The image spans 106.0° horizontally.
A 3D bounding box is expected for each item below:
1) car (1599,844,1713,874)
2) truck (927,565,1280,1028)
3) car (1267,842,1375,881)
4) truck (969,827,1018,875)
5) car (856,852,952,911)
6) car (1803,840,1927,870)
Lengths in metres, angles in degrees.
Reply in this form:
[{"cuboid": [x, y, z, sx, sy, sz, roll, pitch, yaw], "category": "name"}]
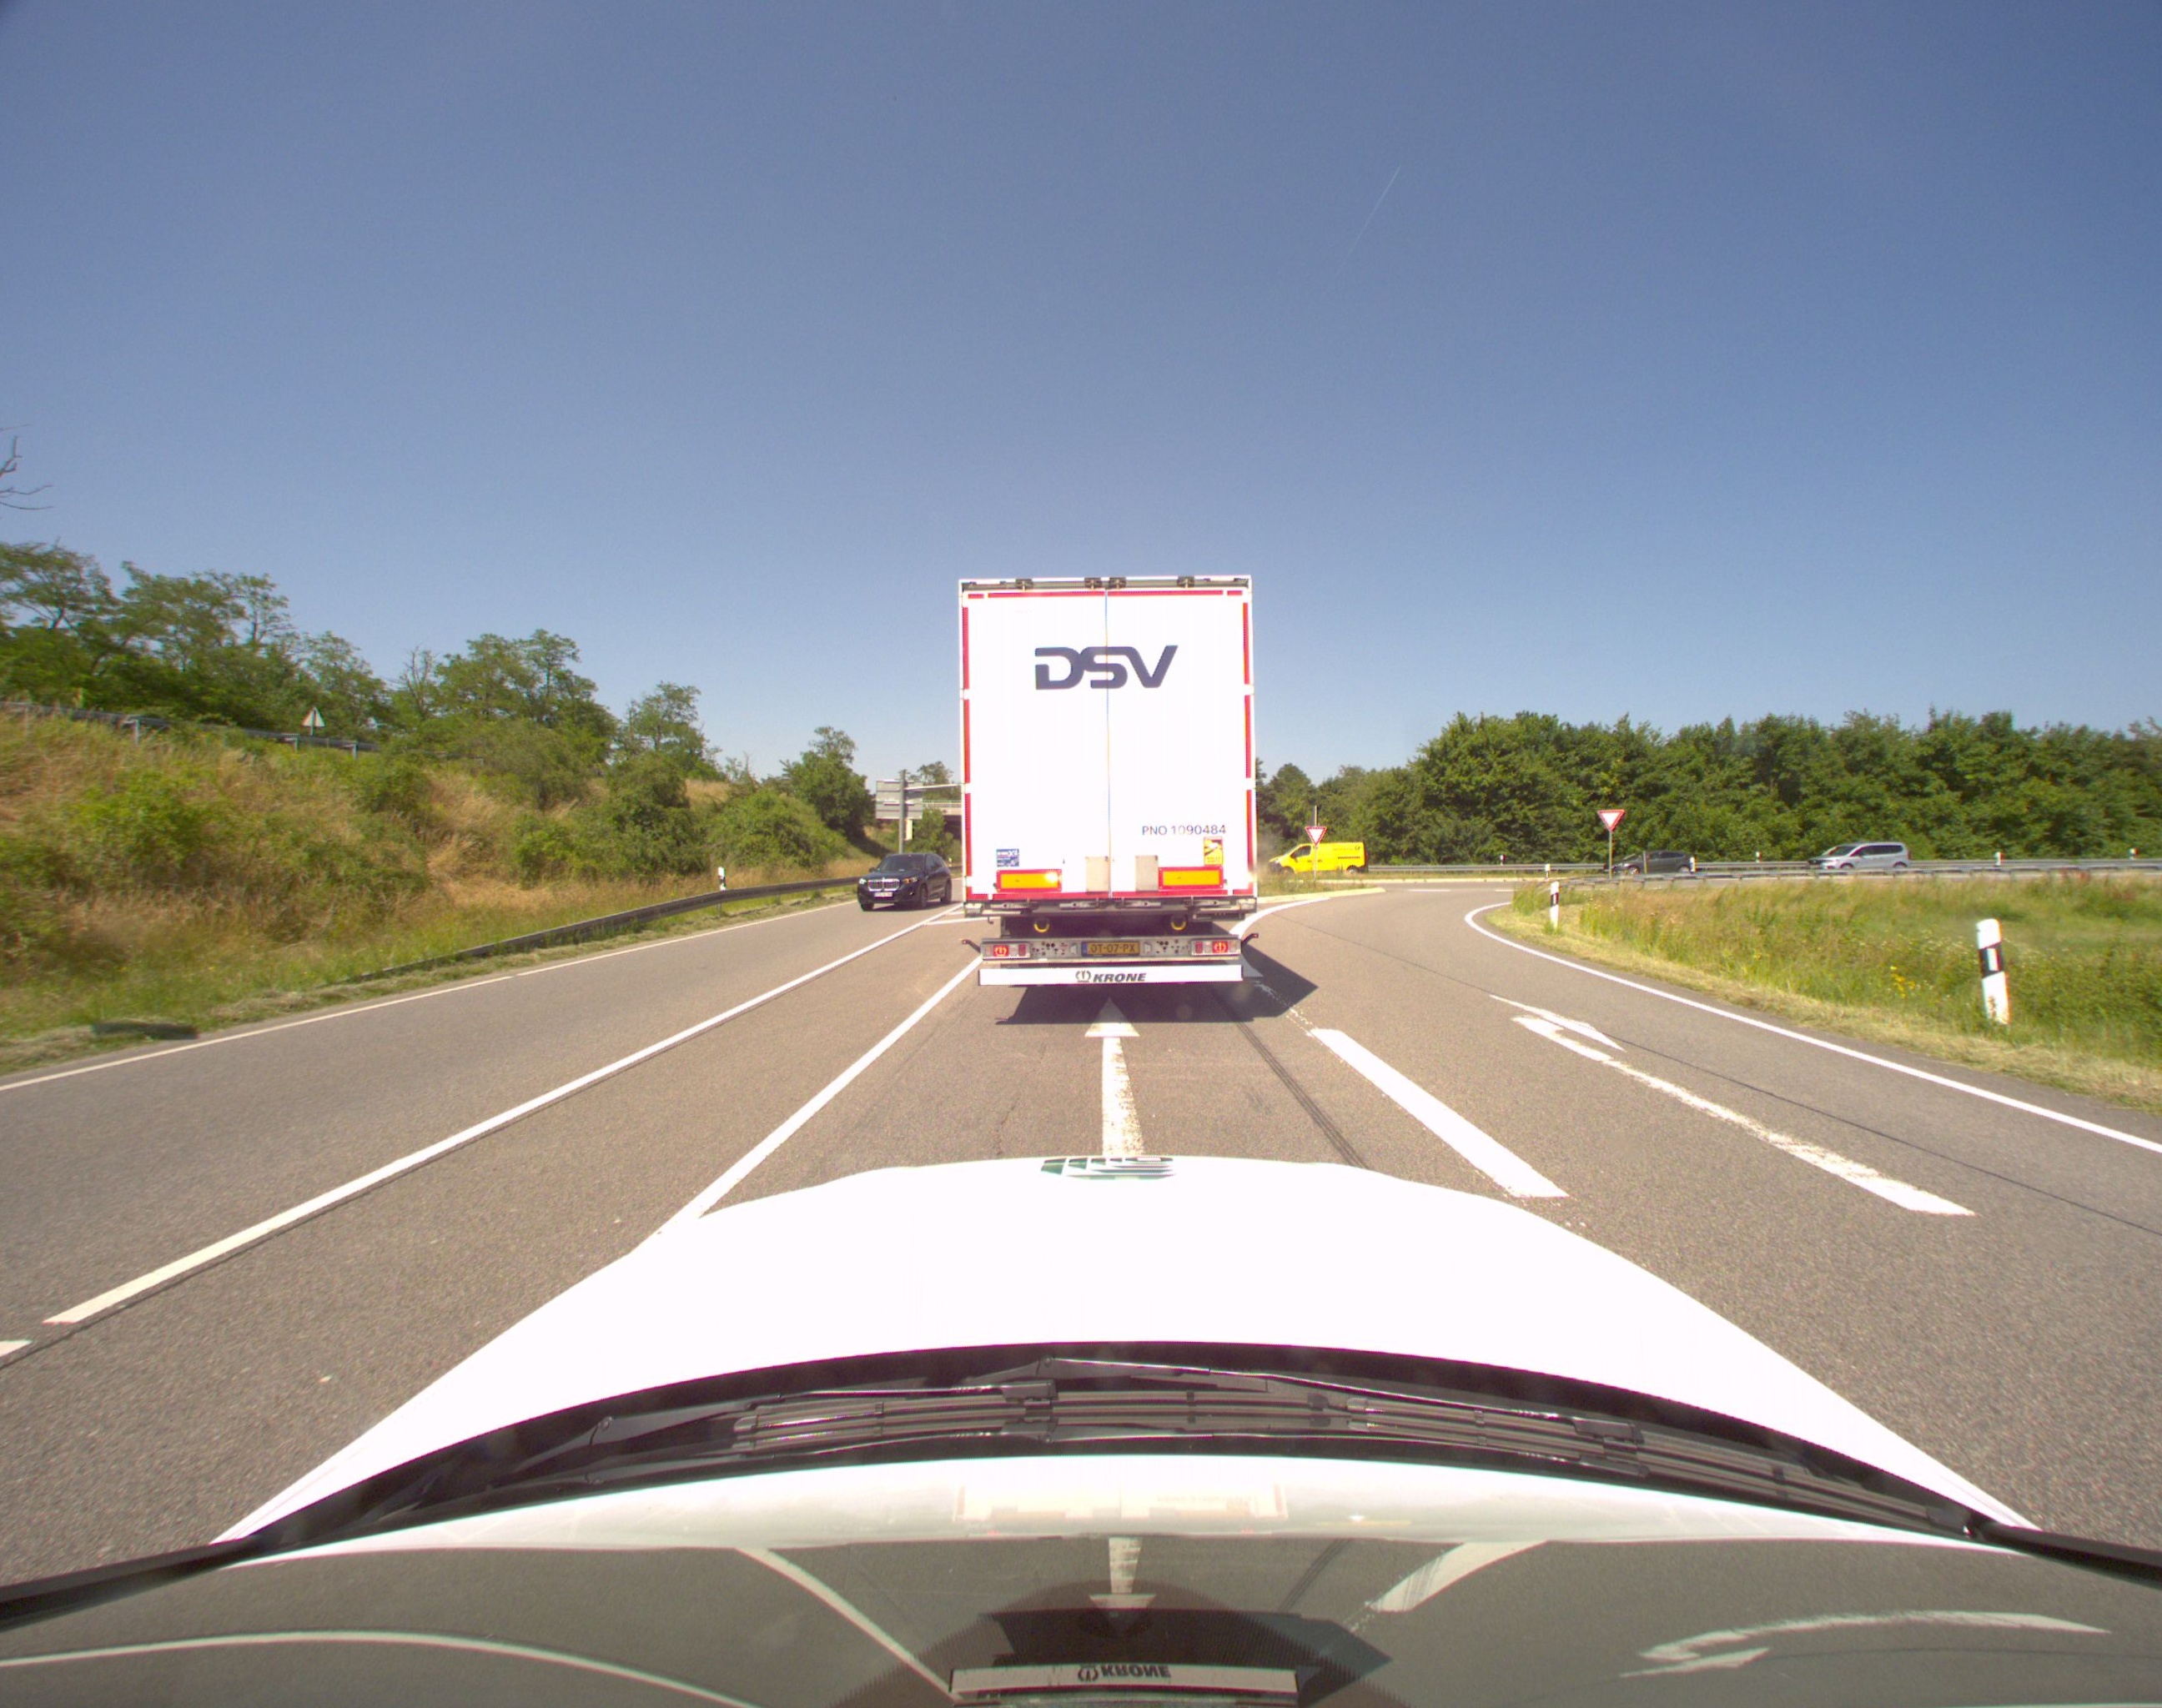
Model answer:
[{"cuboid": [30.598, 0.262, 43.442, 4.662, 1.514, 1.855, -1, -1, 3], "category": "car"}, {"cuboid": [0.297, -0.475, 11.915, 2.977, 3.942, 9.877, -1, 0, 1], "category": "truck"}, {"cuboid": [12.997, 0.396, 44.342, 5.299, 2.014, 2.002, -1, -1, 3], "category": "car"}, {"cuboid": [-6.717, -0.191, 63.687, 2.634, 3.538, 7.893, -1, -1, 2], "category": "truck"}, {"cuboid": [-5.200, 0.754, 24.554, 1.755, 1.598, 4.503, -1, 0, 2], "category": "car"}, {"cuboid": [41.549, 0.048, 43.233, 4.663, 1.514, 1.854, -1, -1, 2], "category": "car"}]
